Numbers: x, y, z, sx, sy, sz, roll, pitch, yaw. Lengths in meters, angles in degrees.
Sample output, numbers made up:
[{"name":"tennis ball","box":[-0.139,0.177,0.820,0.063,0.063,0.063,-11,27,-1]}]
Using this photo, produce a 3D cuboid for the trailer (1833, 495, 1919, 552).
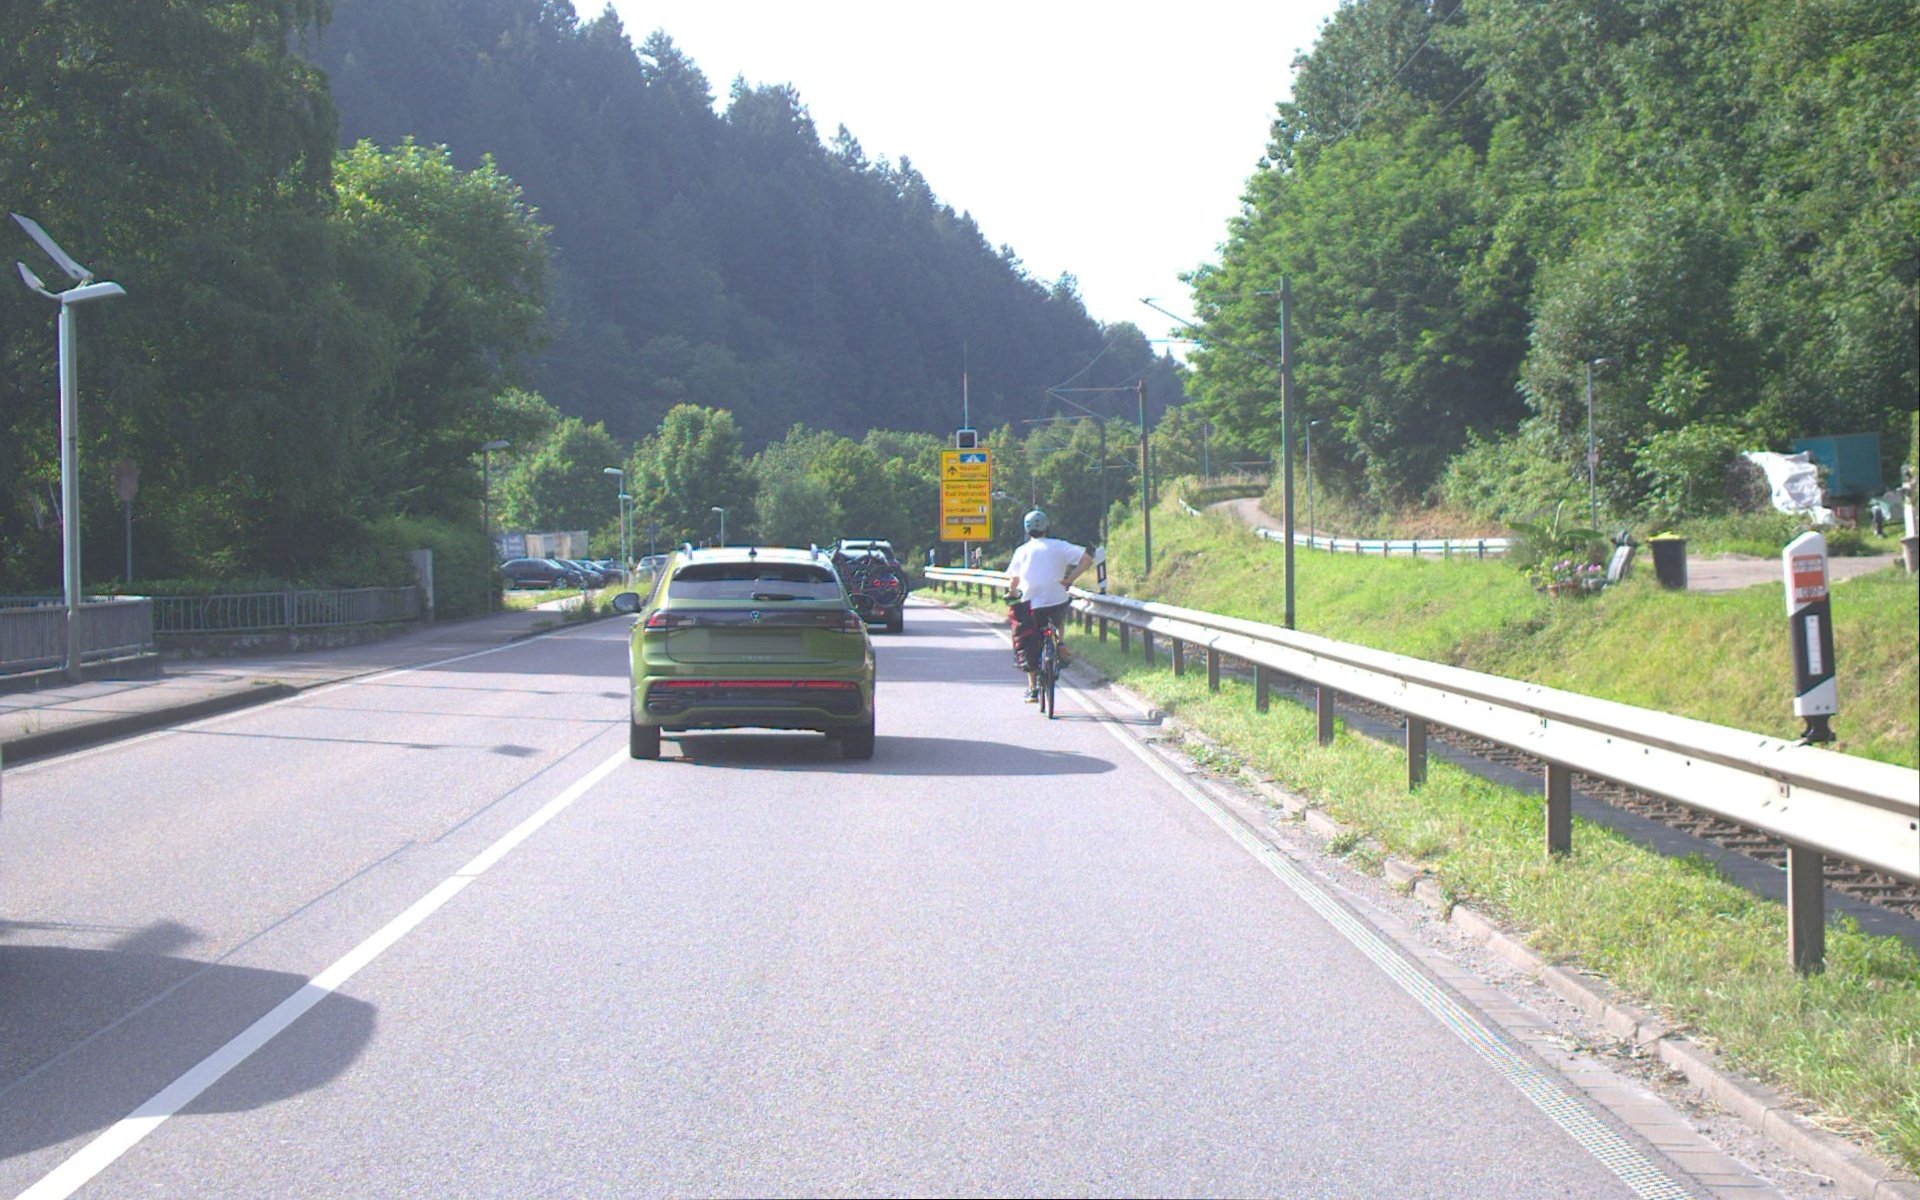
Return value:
[{"name":"trailer","box":[20.927,-1.686,76.102,2.066,1.188,3.715,1,0,-3]}]

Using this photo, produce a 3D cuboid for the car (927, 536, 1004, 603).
[{"name":"car","box":[0.110,-0.775,85.593,1.739,1.596,4.000,-1,1,-2]}]

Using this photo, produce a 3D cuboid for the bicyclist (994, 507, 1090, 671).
[{"name":"bicyclist","box":[0.712,-0.100,30.040,0.781,1.407,0.675,0,1,-3]}]

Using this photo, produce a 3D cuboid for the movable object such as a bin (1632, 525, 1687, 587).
[{"name":"movable object such as a bin","box":[12.548,-0.786,61.715,0.855,1.103,0.934,0,1,5]}]

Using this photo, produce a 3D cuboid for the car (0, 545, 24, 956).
[{"name":"car","box":[-4.238,0.558,10.451,1.677,1.480,4.246,1,1,-1]}]

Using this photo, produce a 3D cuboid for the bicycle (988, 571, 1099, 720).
[{"name":"bicycle","box":[0.715,0.376,30.172,0.811,1.246,2.123,0,1,-3]}]

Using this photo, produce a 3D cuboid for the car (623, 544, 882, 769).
[{"name":"car","box":[-1.458,0.348,25.112,1.739,1.503,4.000,0,1,-2]}]

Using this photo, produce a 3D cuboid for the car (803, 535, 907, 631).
[{"name":"car","box":[-1.837,-0.322,59.929,1.739,1.596,4.000,0,1,-2]}]

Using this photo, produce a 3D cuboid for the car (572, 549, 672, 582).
[{"name":"car","box":[-14.877,-1.509,151.505,4.259,1.428,1.557,0,1,0]}]

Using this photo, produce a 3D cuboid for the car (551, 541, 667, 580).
[{"name":"car","box":[-13.341,-1.511,130.762,4.259,1.428,1.557,0,1,0]}]
